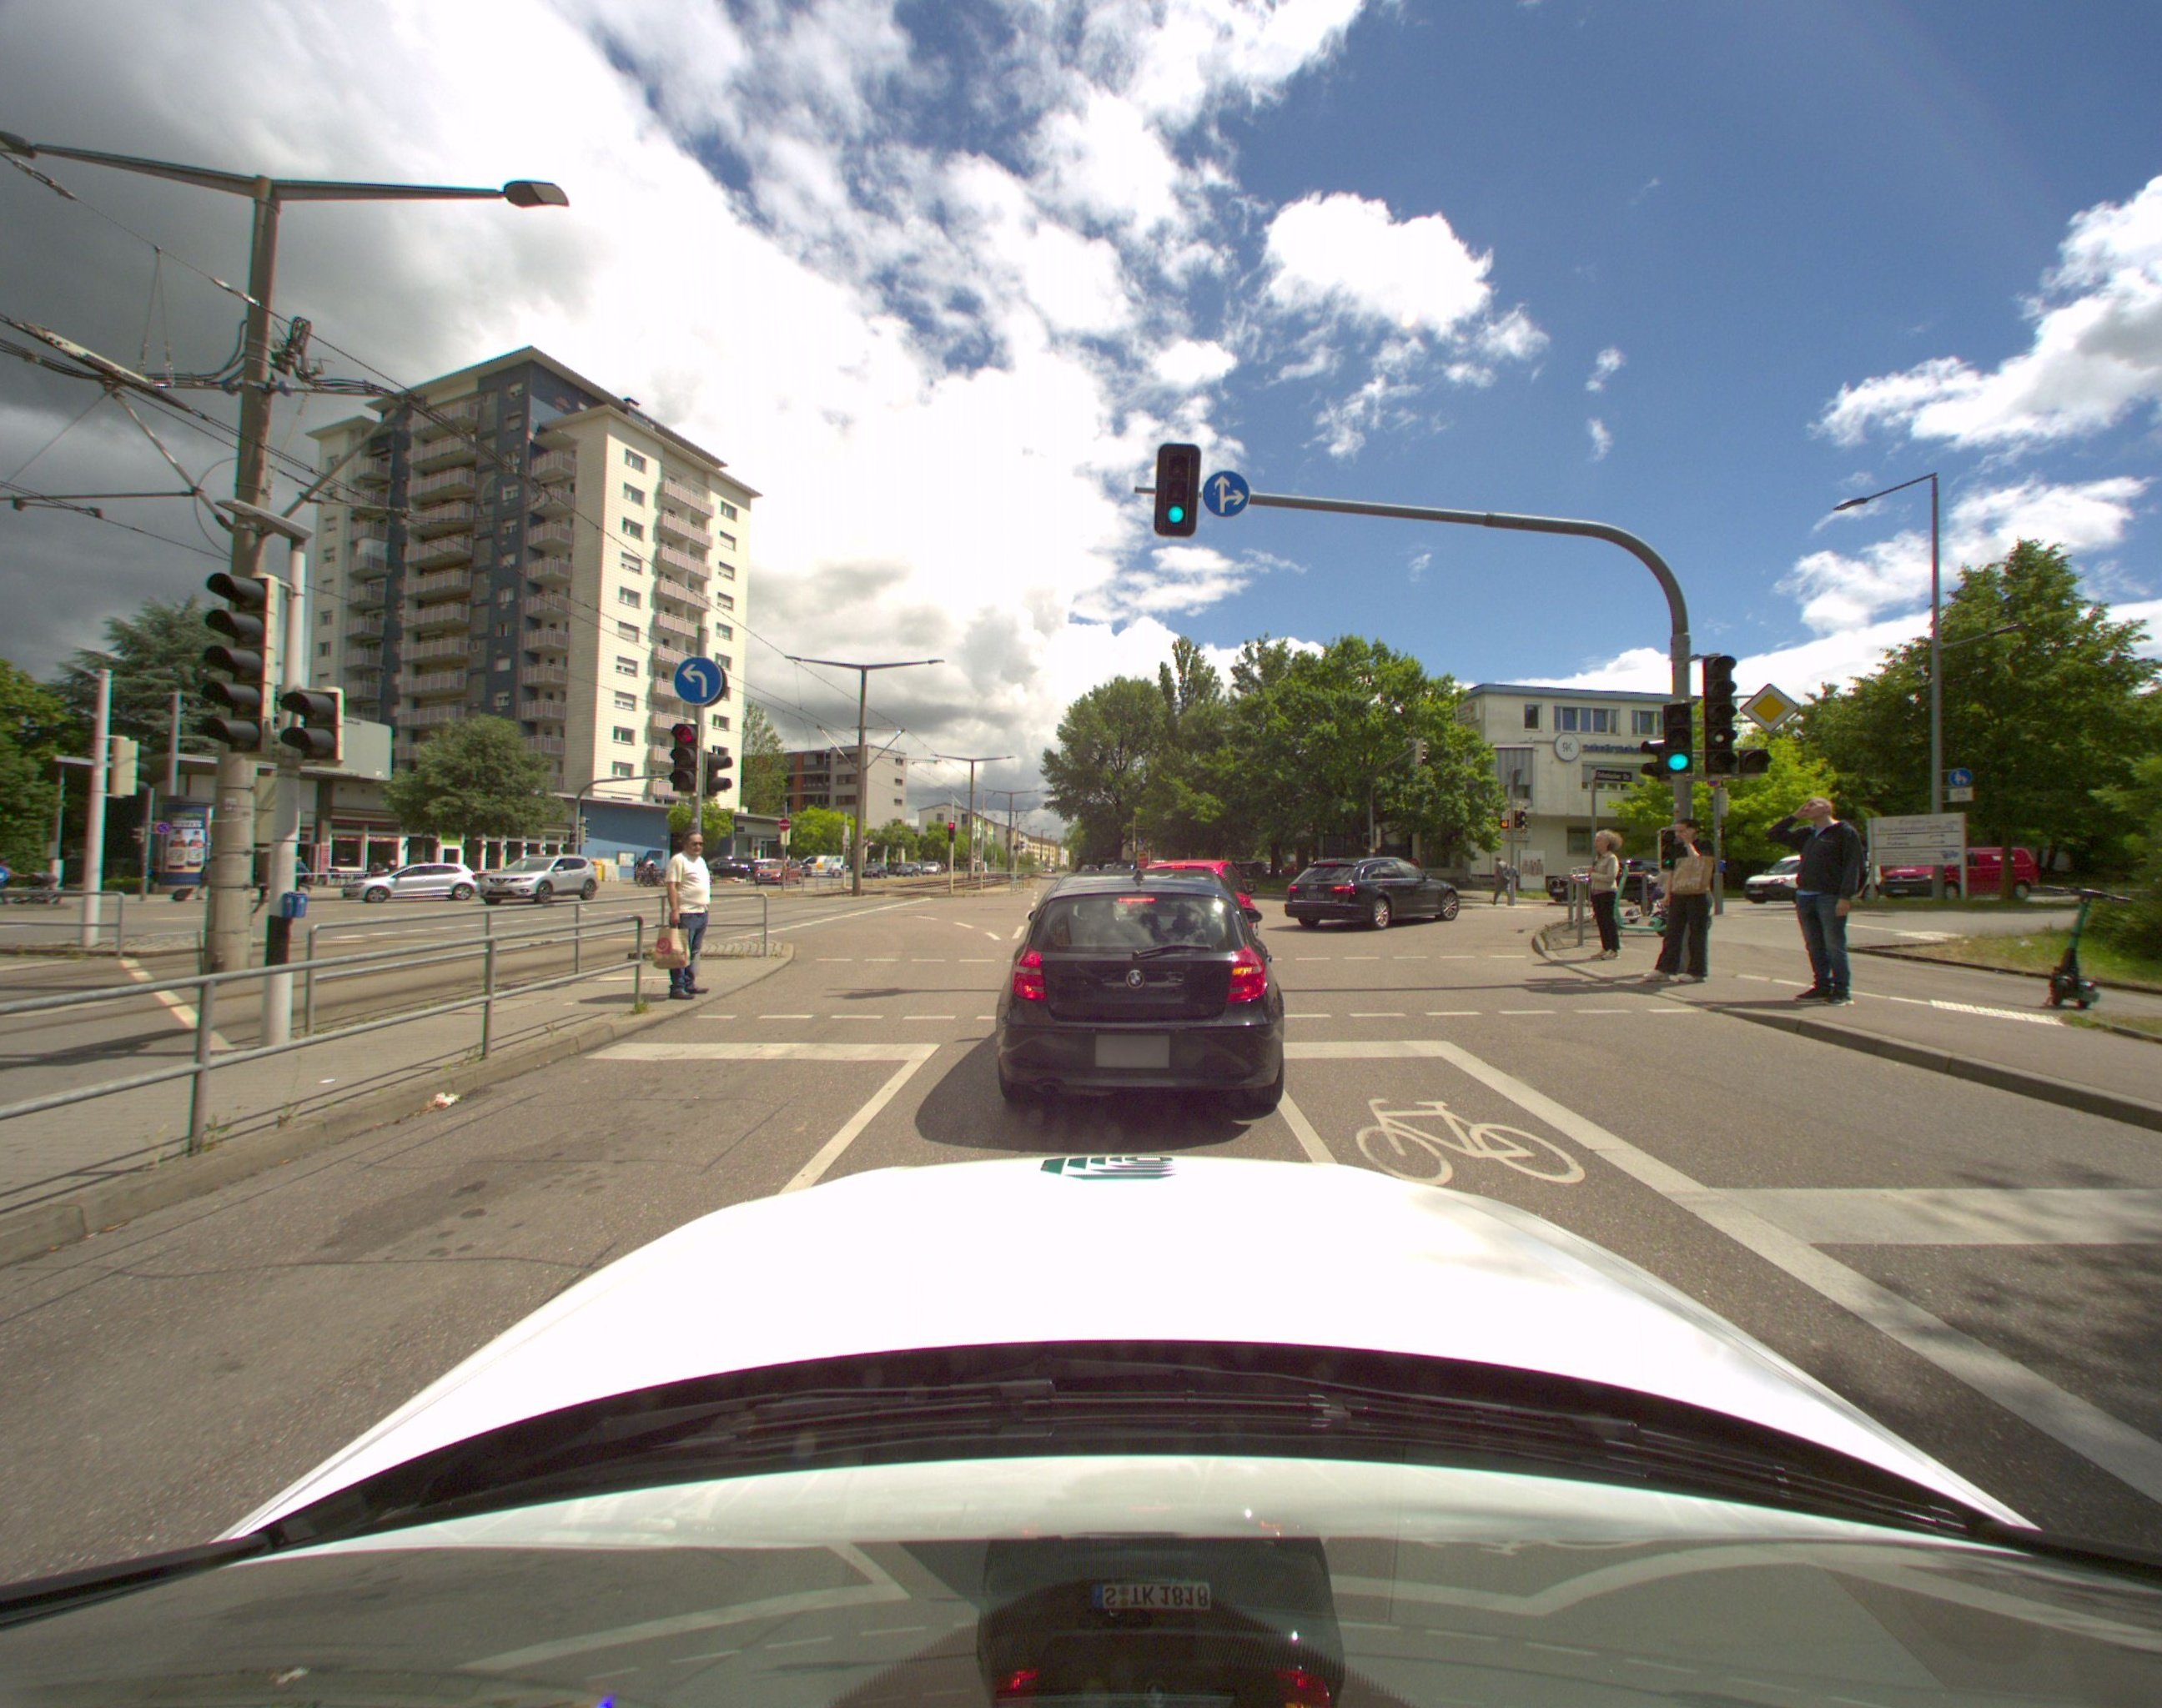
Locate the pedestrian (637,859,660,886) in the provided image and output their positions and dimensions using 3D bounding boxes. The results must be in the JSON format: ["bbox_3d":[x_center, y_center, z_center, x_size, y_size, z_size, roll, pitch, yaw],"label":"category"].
[{"bbox_3d":[-27.761,1.193,52.258,1.085,1.659,0.953,-2,-1,42],"label":"pedestrian"}]

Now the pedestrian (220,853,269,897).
[{"bbox_3d":[-36.921,0.917,35.973,0.861,1.917,1.215,0,0,2],"label":"pedestrian"}]

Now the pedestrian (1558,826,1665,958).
[{"bbox_3d":[7.048,0.486,10.877,0.945,1.674,0.874,-1,-1,17],"label":"pedestrian"}]

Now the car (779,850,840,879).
[{"bbox_3d":[-24.387,0.891,72.878,2.848,2.478,6.642,0,0,-41],"label":"car"}]

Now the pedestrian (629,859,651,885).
[{"bbox_3d":[-28.810,1.187,53.187,1.085,1.659,0.953,-2,-1,42],"label":"pedestrian"}]

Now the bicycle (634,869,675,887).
[{"bbox_3d":[-23.255,1.319,44.431,1.943,0.935,0.494,0,-1,-5],"label":"bicycle"}]

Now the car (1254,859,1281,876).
[{"bbox_3d":[18.056,1.331,78.840,1.626,1.595,3.998,0,0,-1],"label":"car"}]

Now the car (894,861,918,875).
[{"bbox_3d":[-18.437,1.437,85.932,1.630,1.399,4.492,0,-1,0],"label":"car"}]

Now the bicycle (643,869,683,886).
[{"bbox_3d":[-23.301,1.328,45.413,1.943,0.935,0.494,0,-1,-5],"label":"bicycle"}]

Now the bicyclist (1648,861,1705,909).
[{"bbox_3d":[12.974,0.672,17.747,0.789,1.022,0.635,0,0,-3],"label":"bicyclist"}]

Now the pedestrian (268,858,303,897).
[{"bbox_3d":[-32.890,0.954,33.691,0.767,1.615,0.695,0,0,-12],"label":"pedestrian"}]

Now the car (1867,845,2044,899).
[{"bbox_3d":[31.946,0.656,29.816,4.800,1.864,1.994,0,-2,-8],"label":"car"}]

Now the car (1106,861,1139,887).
[{"bbox_3d":[2.731,1.329,54.471,2.144,1.684,4.001,0,-1,2],"label":"car"}]

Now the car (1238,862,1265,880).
[{"bbox_3d":[16.235,1.600,77.613,1.626,1.573,4.030,0,0,-1],"label":"car"}]

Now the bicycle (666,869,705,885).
[{"bbox_3d":[-23.086,1.344,47.551,1.943,0.935,0.494,0,-1,-5],"label":"bicycle"}]

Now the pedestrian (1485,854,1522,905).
[{"bbox_3d":[14.012,0.837,27.034,0.765,1.643,0.908,0,0,1],"label":"pedestrian"}]

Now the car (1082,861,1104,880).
[{"bbox_3d":[1.120,1.528,77.233,1.986,1.684,4.002,0,0,2],"label":"car"}]

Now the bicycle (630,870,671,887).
[{"bbox_3d":[-23.222,1.315,43.941,1.943,0.935,0.494,0,-1,-5],"label":"bicycle"}]

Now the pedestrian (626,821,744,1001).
[{"bbox_3d":[-4.125,0.569,8.543,0.866,1.808,0.741,0,0,-2],"label":"pedestrian"}]

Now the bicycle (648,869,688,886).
[{"bbox_3d":[-23.286,1.332,45.960,1.943,0.935,0.494,0,-1,-5],"label":"bicycle"}]

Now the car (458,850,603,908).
[{"bbox_3d":[-18.986,0.811,28.372,1.988,1.801,4.508,-2,0,-1],"label":"car"}]

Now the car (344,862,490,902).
[{"bbox_3d":[-25.039,1.035,30.838,1.676,1.398,4.025,-1,-1,39],"label":"car"}]

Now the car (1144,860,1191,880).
[{"bbox_3d":[8.073,1.471,75.866,4.001,1.823,1.766,0,0,-21],"label":"car"}]

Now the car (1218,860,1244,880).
[{"bbox_3d":[14.117,1.469,76.947,1.626,1.811,4.030,0,0,-1],"label":"car"}]

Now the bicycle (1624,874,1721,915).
[{"bbox_3d":[12.968,0.877,17.922,0.789,0.819,1.806,0,0,-2],"label":"bicycle"}]

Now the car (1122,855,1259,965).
[{"bbox_3d":[1.799,0.746,12.546,1.529,1.441,3.211,0,0,18],"label":"car"}]

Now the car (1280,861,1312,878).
[{"bbox_3d":[20.885,1.481,79.214,1.728,1.595,3.992,0,0,-5],"label":"car"}]

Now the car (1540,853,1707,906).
[{"bbox_3d":[18.564,0.832,27.975,4.551,1.717,1.996,0,0,-5],"label":"car"}]

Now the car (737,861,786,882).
[{"bbox_3d":[-24.232,1.295,61.695,4.165,1.570,1.973,0,0,45],"label":"car"}]

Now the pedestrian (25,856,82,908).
[{"bbox_3d":[-33.791,0.905,26.792,0.957,1.659,1.002,-1,-1,28],"label":"pedestrian"}]

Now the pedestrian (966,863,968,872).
[{"bbox_3d":[-20.520,2.404,146.686,0.452,1.637,0.480,0,0,-3],"label":"pedestrian"}]

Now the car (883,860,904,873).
[{"bbox_3d":[-21.666,1.453,94.360,1.758,1.395,3.993,0,0,-5],"label":"car"}]

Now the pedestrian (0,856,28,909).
[{"bbox_3d":[-34.257,0.900,25.753,0.957,1.659,1.002,-1,-1,28],"label":"pedestrian"}]

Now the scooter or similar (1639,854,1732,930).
[{"bbox_3d":[10.357,0.646,13.968,1.225,1.240,0.555,2,0,-7],"label":"scooter or similar"}]

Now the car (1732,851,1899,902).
[{"bbox_3d":[26.297,0.770,29.247,4.555,1.717,1.995,0,0,-8],"label":"car"}]

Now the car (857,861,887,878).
[{"bbox_3d":[-18.888,1.356,73.689,1.625,1.414,4.251,-1,1,-1],"label":"car"}]

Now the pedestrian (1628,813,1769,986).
[{"bbox_3d":[6.674,0.462,8.834,0.933,1.765,0.770,-1,0,-10],"label":"pedestrian"}]

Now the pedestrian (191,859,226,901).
[{"bbox_3d":[-34.185,0.996,31.903,0.760,1.615,0.702,0,-1,24],"label":"pedestrian"}]

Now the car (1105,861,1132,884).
[{"bbox_3d":[2.806,1.418,61.923,1.986,1.684,4.001,0,-1,2],"label":"car"}]

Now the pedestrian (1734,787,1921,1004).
[{"bbox_3d":[7.063,0.369,7.761,0.963,1.942,0.896,0,0,-3],"label":"pedestrian"}]

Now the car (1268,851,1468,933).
[{"bbox_3d":[6.301,0.738,17.651,4.543,1.554,1.977,0,-1,-39],"label":"car"}]

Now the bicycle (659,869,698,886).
[{"bbox_3d":[-23.041,1.336,46.579,1.943,0.935,0.494,0,-1,-5],"label":"bicycle"}]

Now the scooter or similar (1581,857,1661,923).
[{"bbox_3d":[9.875,0.655,14.882,1.360,1.156,0.540,1,0,-23],"label":"scooter or similar"}]

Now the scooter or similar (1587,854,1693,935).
[{"bbox_3d":[8.968,0.637,13.096,1.336,1.277,0.463,0,1,8],"label":"scooter or similar"}]

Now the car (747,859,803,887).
[{"bbox_3d":[-19.550,1.188,52.203,1.989,1.635,4.456,-2,0,-3],"label":"car"}]

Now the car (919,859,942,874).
[{"bbox_3d":[-18.369,1.505,99.394,1.930,1.693,3.873,0,0,1],"label":"car"}]

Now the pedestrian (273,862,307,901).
[{"bbox_3d":[-33.649,1.165,34.642,0.755,1.616,0.785,0,-6,37],"label":"pedestrian"}]

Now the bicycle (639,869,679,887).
[{"bbox_3d":[-23.278,1.324,44.937,1.943,0.935,0.494,0,-1,-5],"label":"bicycle"}]

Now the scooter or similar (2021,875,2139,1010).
[{"bbox_3d":[10.619,0.925,8.656,1.247,1.275,0.709,6,-1,-38],"label":"scooter or similar"}]

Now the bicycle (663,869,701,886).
[{"bbox_3d":[-23.056,1.340,47.071,1.943,0.935,0.494,0,-1,-5],"label":"bicycle"}]

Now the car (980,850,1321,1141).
[{"bbox_3d":[0.425,0.723,6.180,1.746,1.487,4.002,0,0,2],"label":"car"}]
